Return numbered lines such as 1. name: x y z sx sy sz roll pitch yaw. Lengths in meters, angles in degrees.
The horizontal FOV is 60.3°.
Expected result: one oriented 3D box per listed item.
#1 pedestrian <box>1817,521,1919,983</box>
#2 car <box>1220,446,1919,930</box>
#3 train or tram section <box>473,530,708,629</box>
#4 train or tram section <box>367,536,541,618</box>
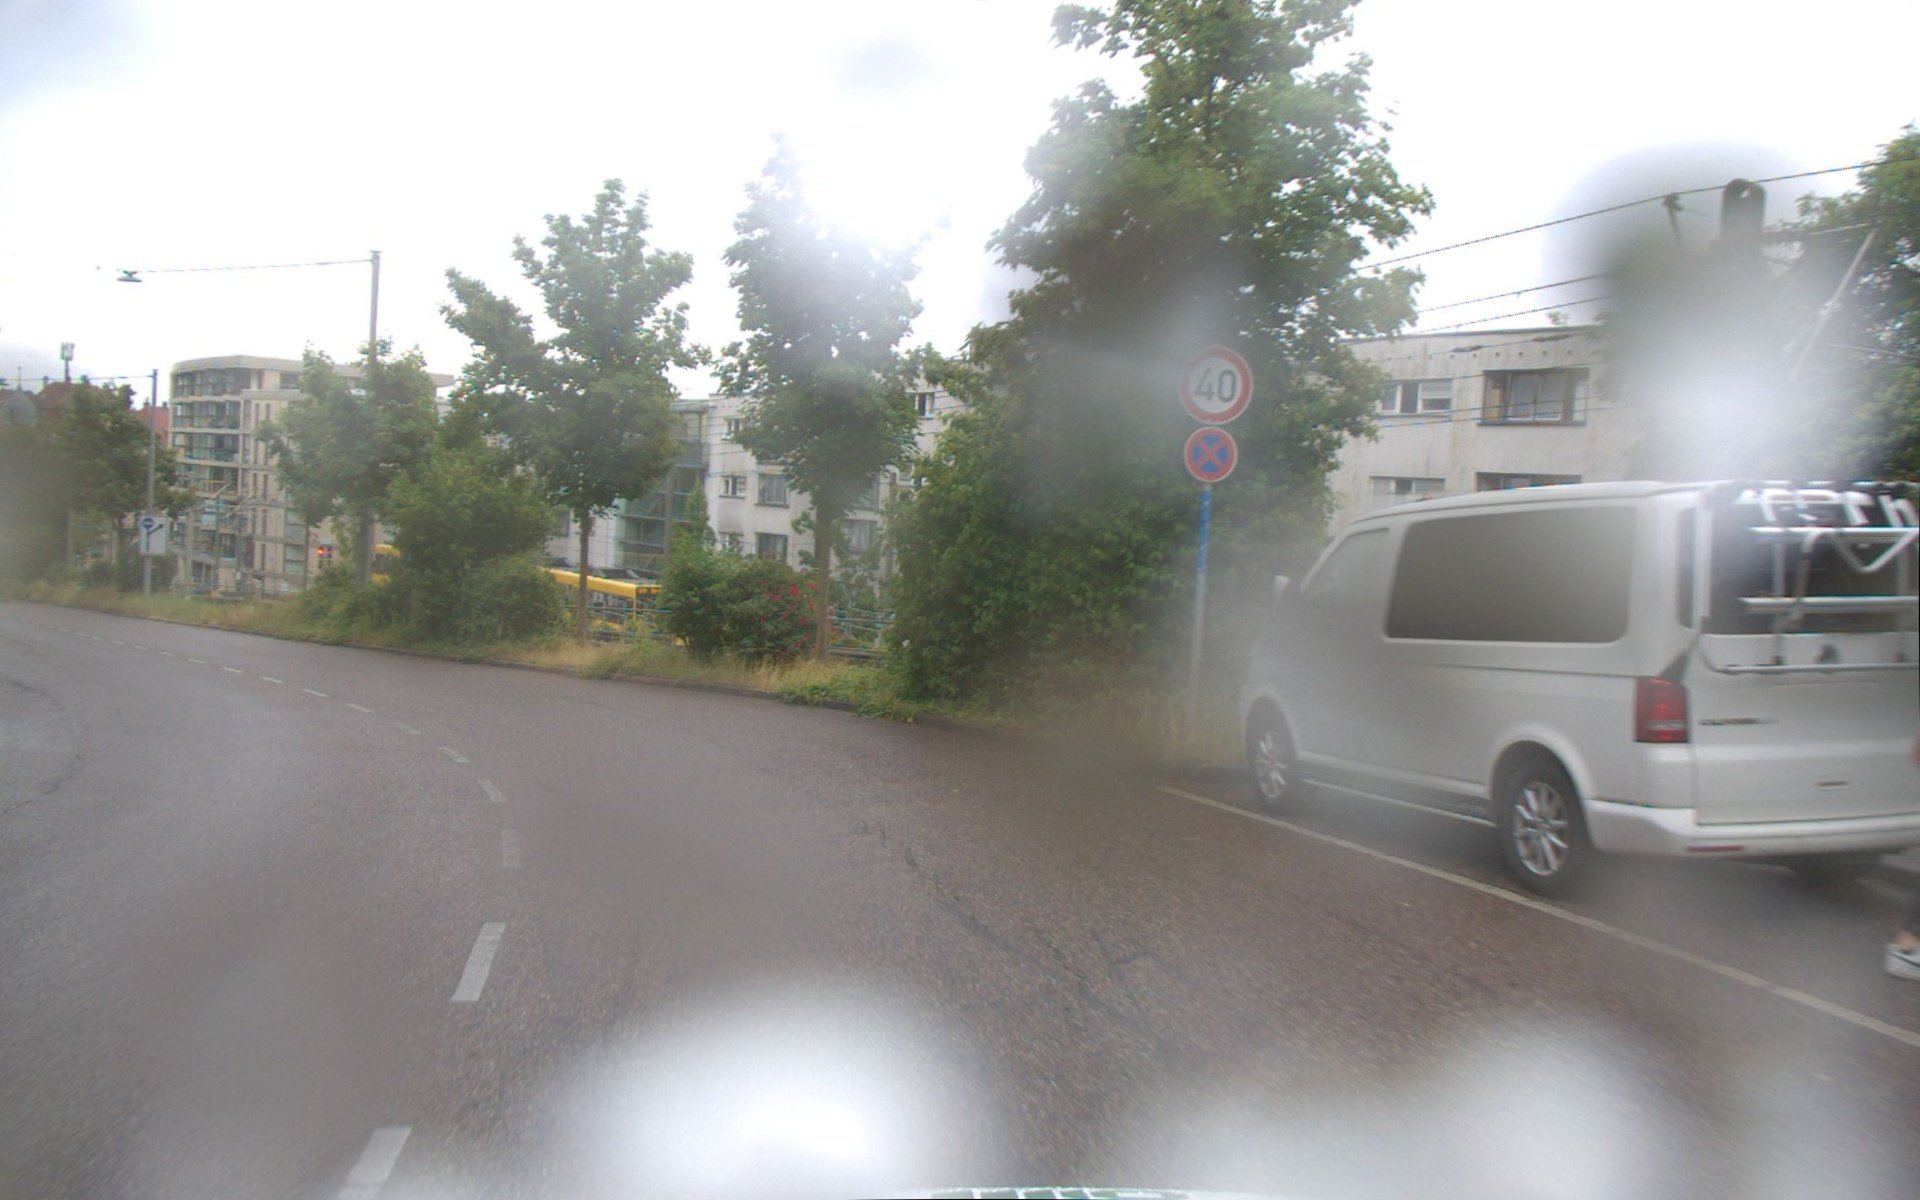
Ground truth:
1. pedestrian: 3.927 0.545 6.268 0.905 1.690 0.803 -1 1 -9
2. car: 3.315 0.337 9.513 1.846 2.049 4.672 -1 1 -15
3. train or tram section: -17.504 -0.949 76.193 3.304 4.016 19.036 2 0 -36
4. train or tram section: -28.244 -1.281 91.122 3.304 4.016 18.573 2 0 -36
